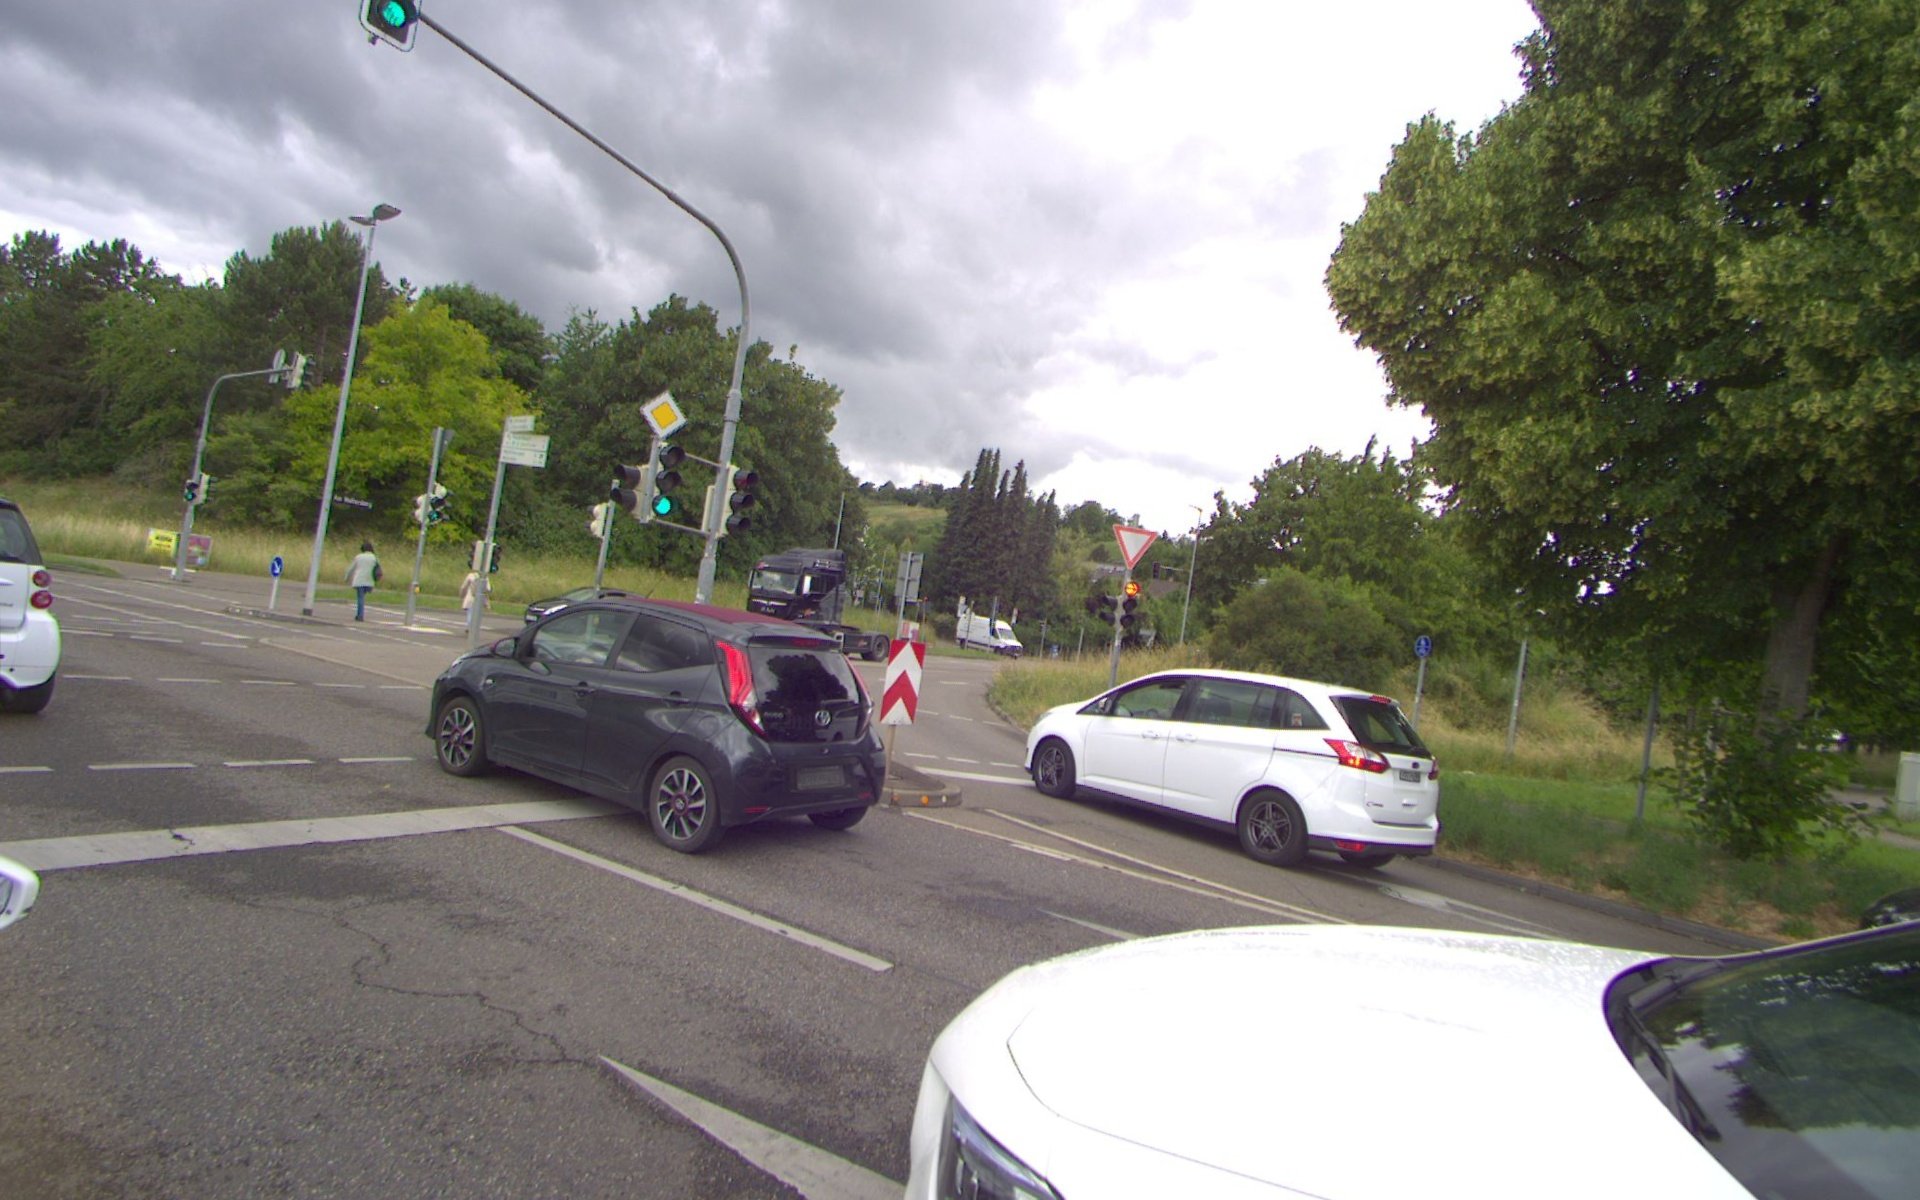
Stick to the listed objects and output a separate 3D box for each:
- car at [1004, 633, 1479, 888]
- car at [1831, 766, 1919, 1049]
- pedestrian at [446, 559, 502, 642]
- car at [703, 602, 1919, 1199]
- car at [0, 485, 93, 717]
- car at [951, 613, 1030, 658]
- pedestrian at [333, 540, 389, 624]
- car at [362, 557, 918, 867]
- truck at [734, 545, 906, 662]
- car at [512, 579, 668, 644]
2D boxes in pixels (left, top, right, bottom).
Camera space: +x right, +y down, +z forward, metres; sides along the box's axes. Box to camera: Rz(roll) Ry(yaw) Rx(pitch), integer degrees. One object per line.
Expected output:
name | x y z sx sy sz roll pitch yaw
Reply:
car | 2.604 1.464 10.270 1.752 1.673 4.325 10 -3 -37
car | 7.143 1.979 5.398 3.511 1.524 1.603 6 -2 38
pedestrian | -10.253 0.005 21.212 0.703 1.630 0.644 6 -1 37
car | 1.994 1.056 1.165 4.454 1.524 1.848 6 -2 30
car | -7.698 -0.146 7.080 2.721 1.533 1.595 6 -2 33
car | 2.213 2.605 74.735 5.749 2.661 1.990 5 -2 45
pedestrian | -12.739 -0.379 21.380 0.703 1.681 0.644 6 -1 39
car | -2.403 0.658 7.283 3.817 1.470 1.616 6 -2 32
truck | -5.031 0.237 37.209 2.648 3.526 6.006 6 -2 34
car | -10.562 0.372 28.968 1.669 1.353 3.882 6 -3 34
